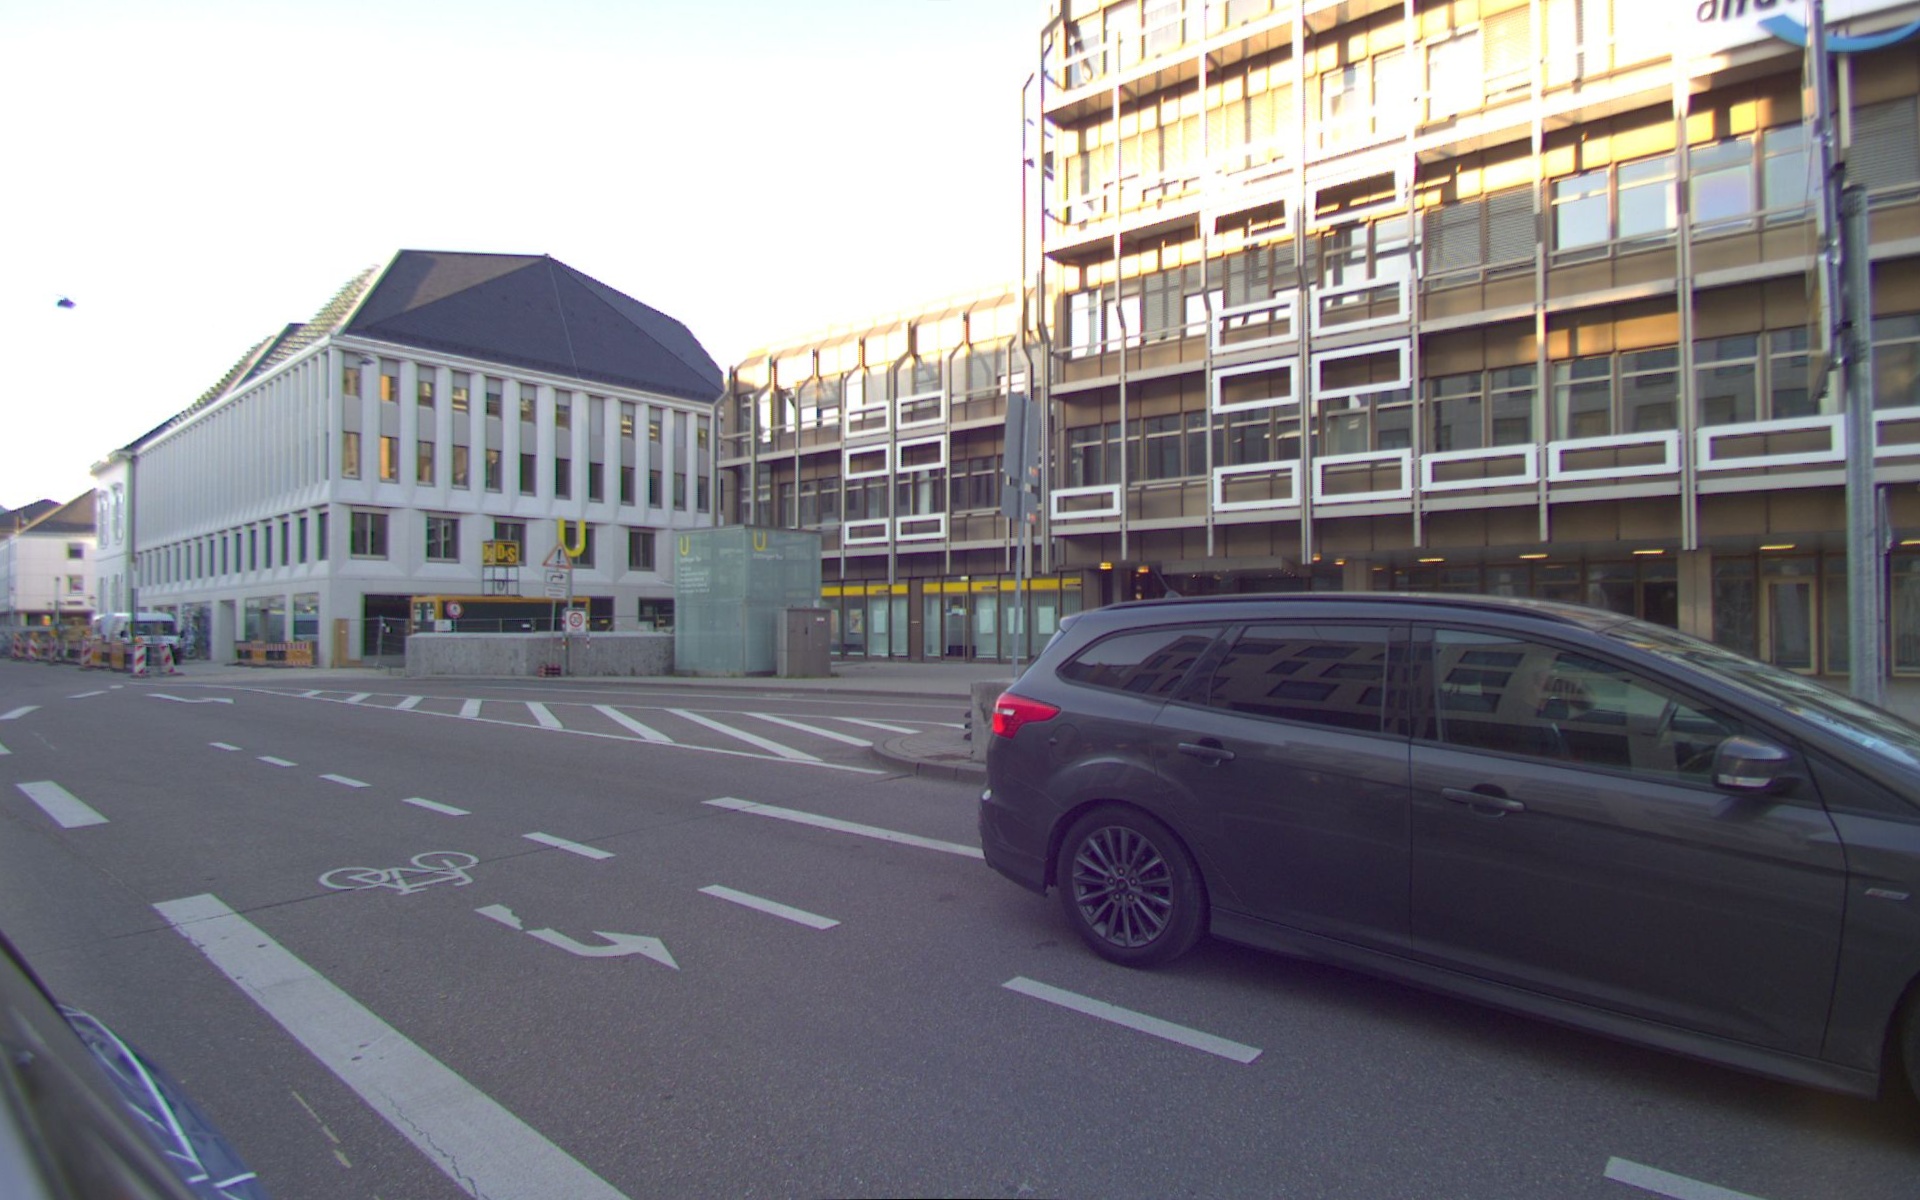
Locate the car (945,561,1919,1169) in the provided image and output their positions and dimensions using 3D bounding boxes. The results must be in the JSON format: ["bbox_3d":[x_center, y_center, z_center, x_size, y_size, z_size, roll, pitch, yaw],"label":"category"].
[{"bbox_3d":[2.169,0.657,3.724,4.377,1.473,1.740,-2,-1,40],"label":"car"}]

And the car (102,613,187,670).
[{"bbox_3d":[-38.838,1.962,48.159,6.047,2.575,2.114,-2,-3,41],"label":"car"}]
